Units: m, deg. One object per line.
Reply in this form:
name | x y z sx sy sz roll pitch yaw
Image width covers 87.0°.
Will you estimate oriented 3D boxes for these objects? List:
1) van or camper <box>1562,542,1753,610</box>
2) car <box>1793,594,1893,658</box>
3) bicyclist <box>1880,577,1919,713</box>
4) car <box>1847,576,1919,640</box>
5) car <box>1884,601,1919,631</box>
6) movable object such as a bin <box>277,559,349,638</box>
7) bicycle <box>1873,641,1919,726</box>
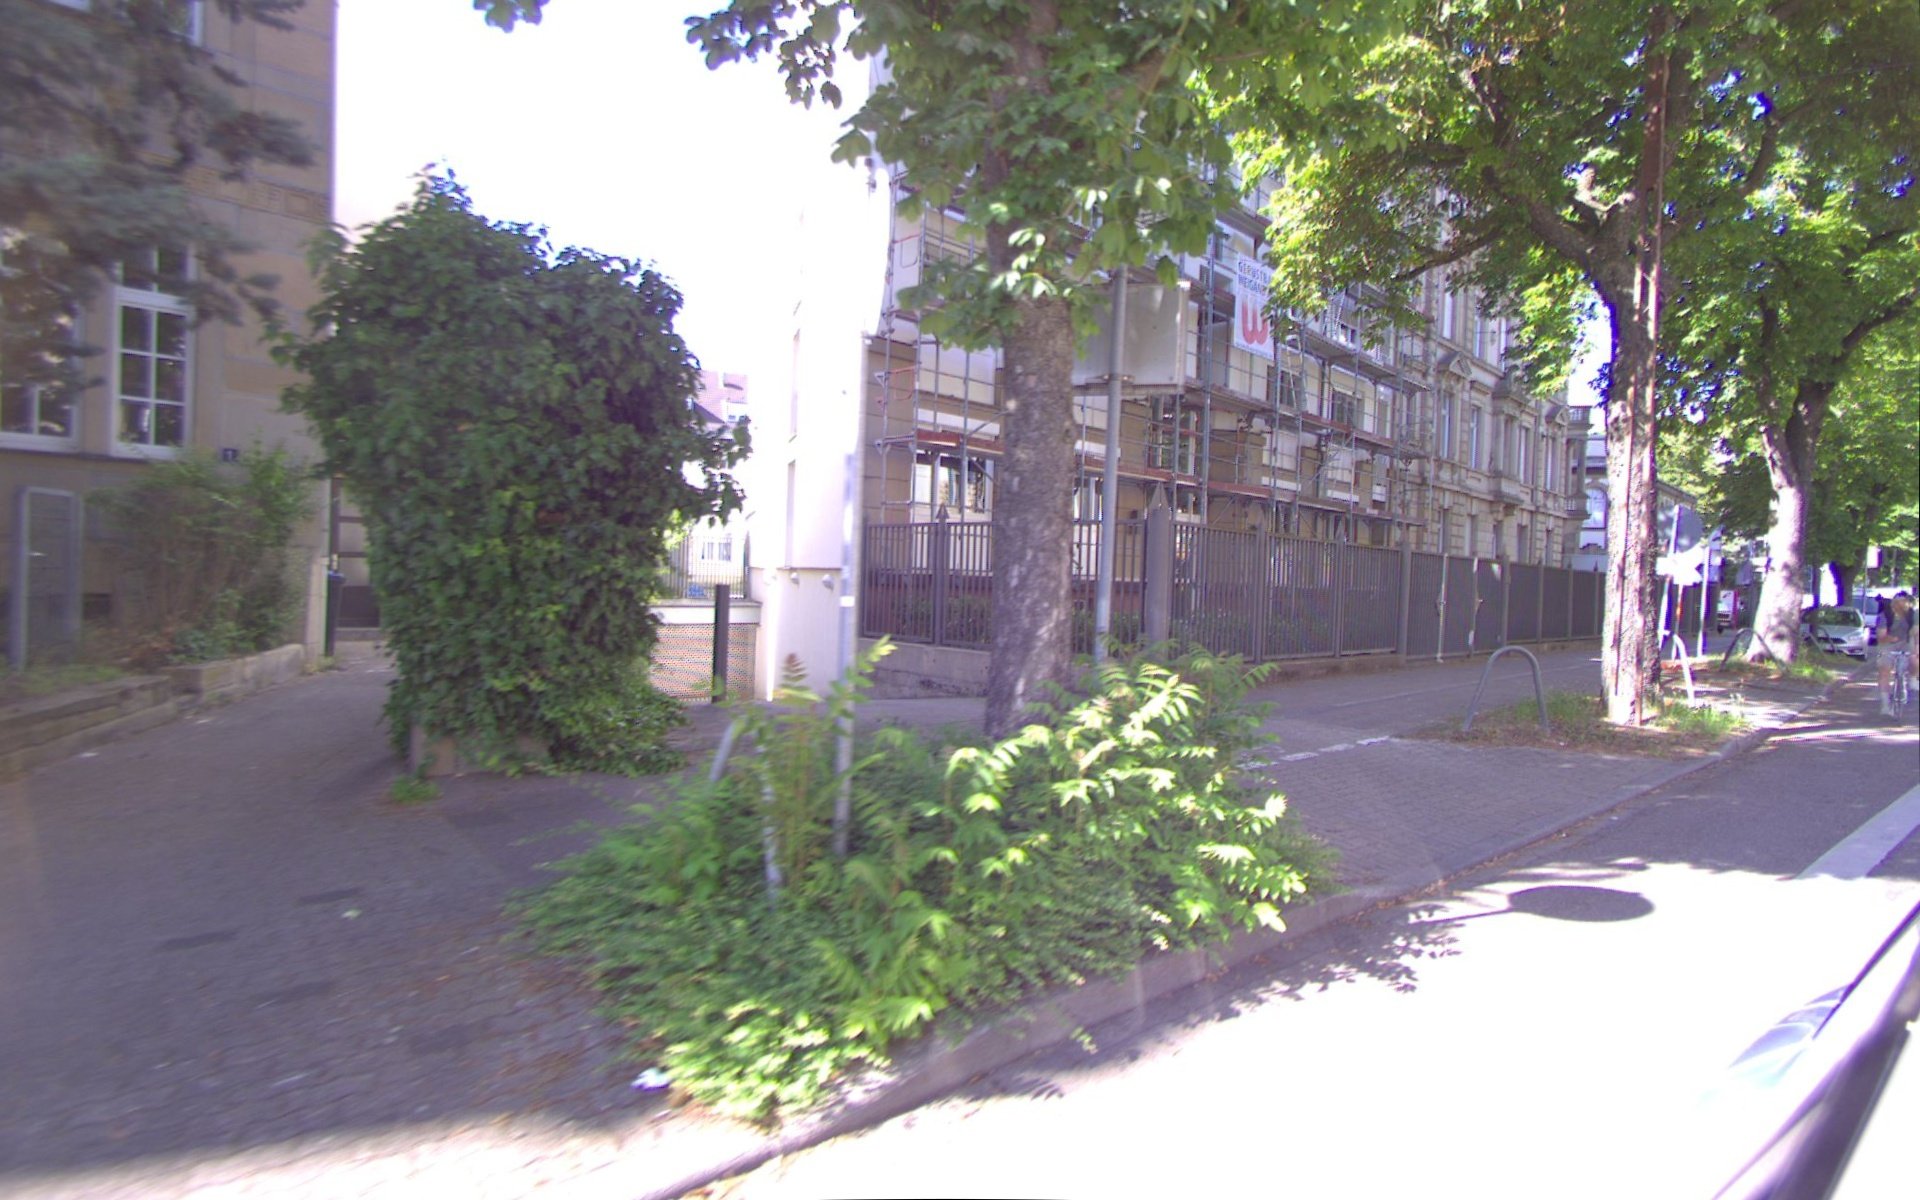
van or camper | 29.518 -1.009 43.217 2.078 2.659 6.753 0 1 -19
car | 25.304 0.667 28.944 1.873 1.562 4.297 5 4 44
bicyclist | 12.288 0.560 13.043 0.863 1.690 0.532 0 1 -42
car | 38.281 0.261 41.764 2.128 2.371 5.714 5 4 44
car | 54.166 0.881 57.853 1.862 1.569 4.038 3 2 44
movable object such as a bin | -8.225 -0.027 12.858 0.637 0.966 0.835 0 1 -43
bicycle | 12.259 1.045 13.032 2.022 0.933 0.534 0 1 -42
